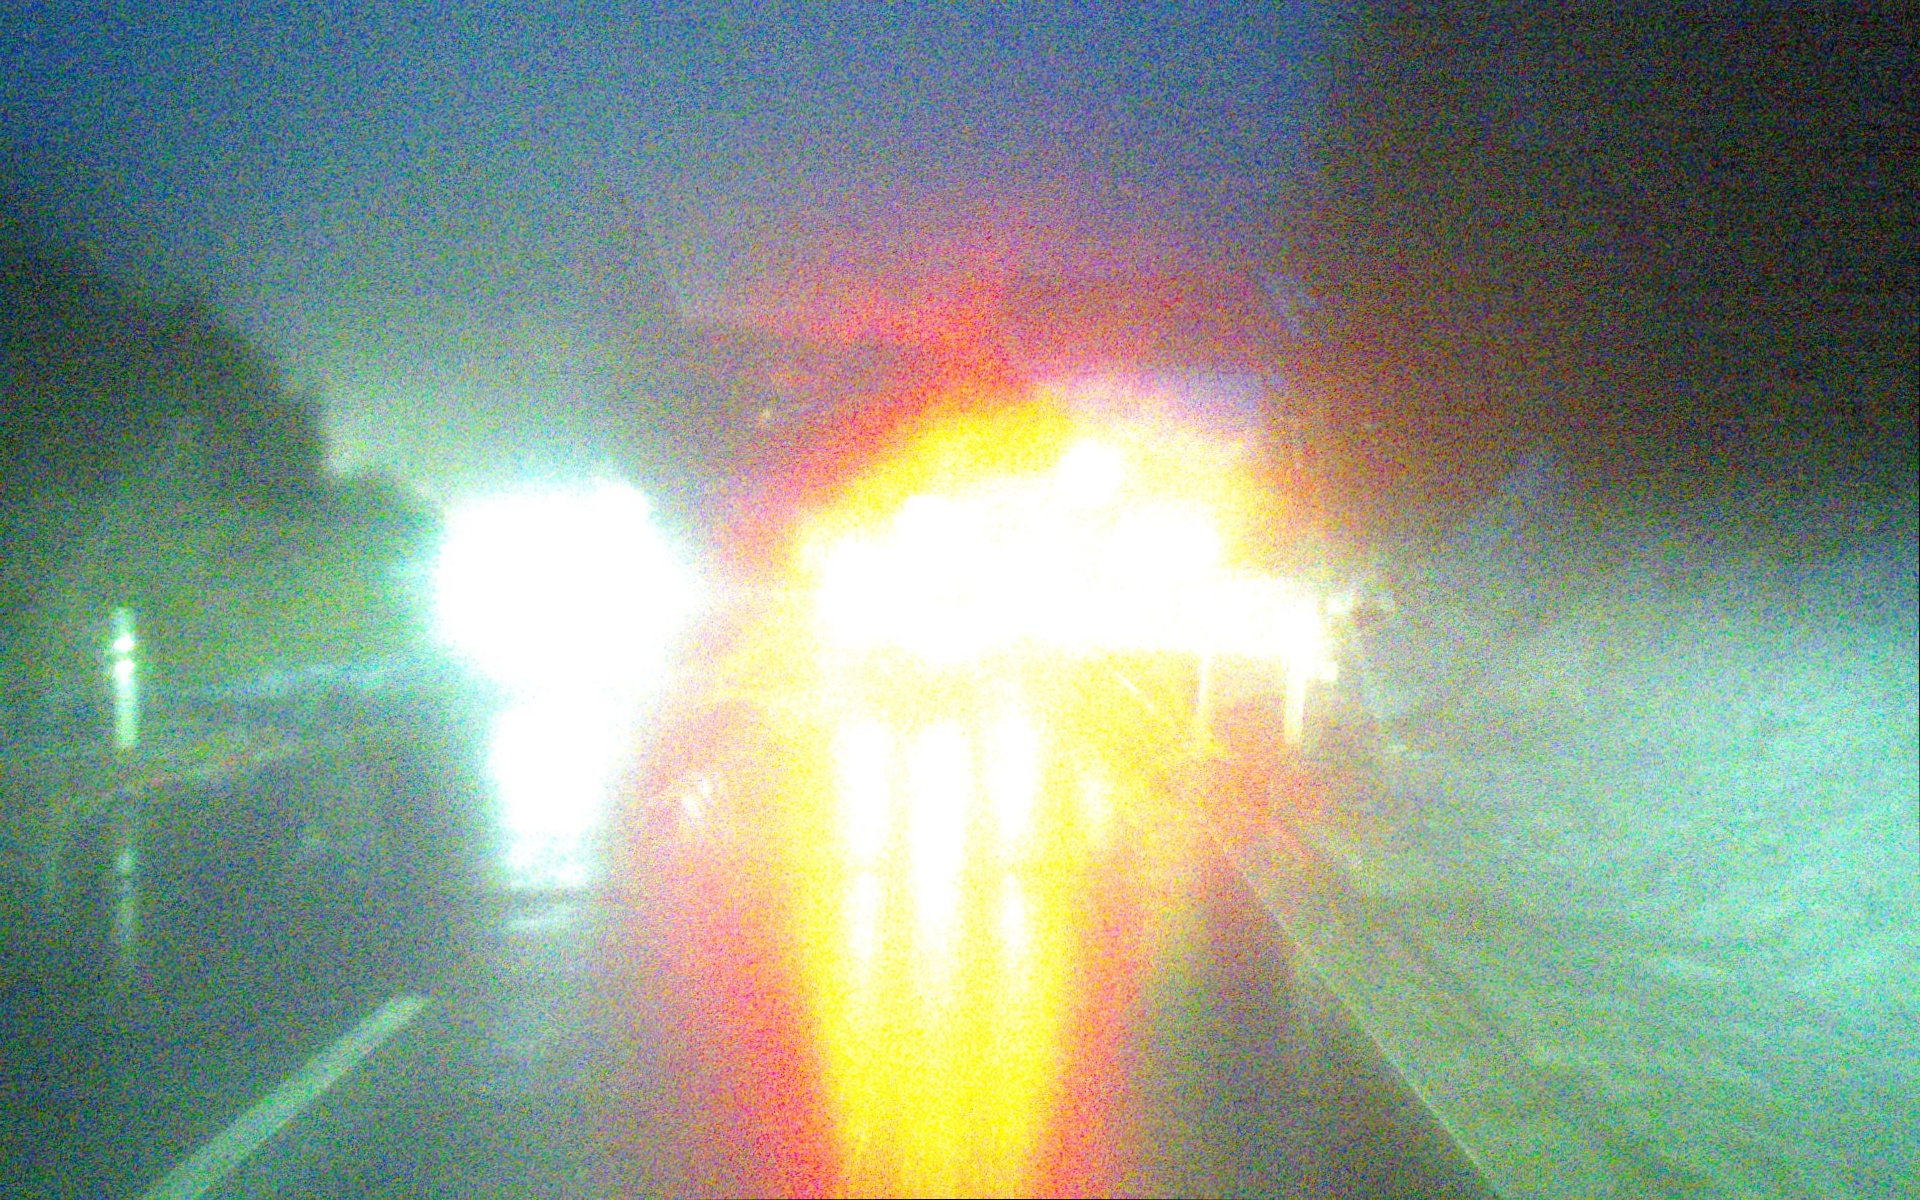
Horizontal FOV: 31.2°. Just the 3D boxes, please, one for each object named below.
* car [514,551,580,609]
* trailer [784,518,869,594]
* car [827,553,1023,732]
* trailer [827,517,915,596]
[{"bbox_3d":[-12.811,-0.632,106.793,1.976,1.772,4.001,0,0,-7],"label":"car"},{"bbox_3d":[-4.330,-1.430,110.798,1.629,2.356,4.654,1,0,-16],"label":"trailer"},{"bbox_3d":[-0.312,0.368,33.461,1.801,1.623,3.615,0,1,0],"label":"car"},{"bbox_3d":[-2.779,-1.335,106.110,1.605,2.344,4.432,1,0,-16],"label":"trailer"}]
